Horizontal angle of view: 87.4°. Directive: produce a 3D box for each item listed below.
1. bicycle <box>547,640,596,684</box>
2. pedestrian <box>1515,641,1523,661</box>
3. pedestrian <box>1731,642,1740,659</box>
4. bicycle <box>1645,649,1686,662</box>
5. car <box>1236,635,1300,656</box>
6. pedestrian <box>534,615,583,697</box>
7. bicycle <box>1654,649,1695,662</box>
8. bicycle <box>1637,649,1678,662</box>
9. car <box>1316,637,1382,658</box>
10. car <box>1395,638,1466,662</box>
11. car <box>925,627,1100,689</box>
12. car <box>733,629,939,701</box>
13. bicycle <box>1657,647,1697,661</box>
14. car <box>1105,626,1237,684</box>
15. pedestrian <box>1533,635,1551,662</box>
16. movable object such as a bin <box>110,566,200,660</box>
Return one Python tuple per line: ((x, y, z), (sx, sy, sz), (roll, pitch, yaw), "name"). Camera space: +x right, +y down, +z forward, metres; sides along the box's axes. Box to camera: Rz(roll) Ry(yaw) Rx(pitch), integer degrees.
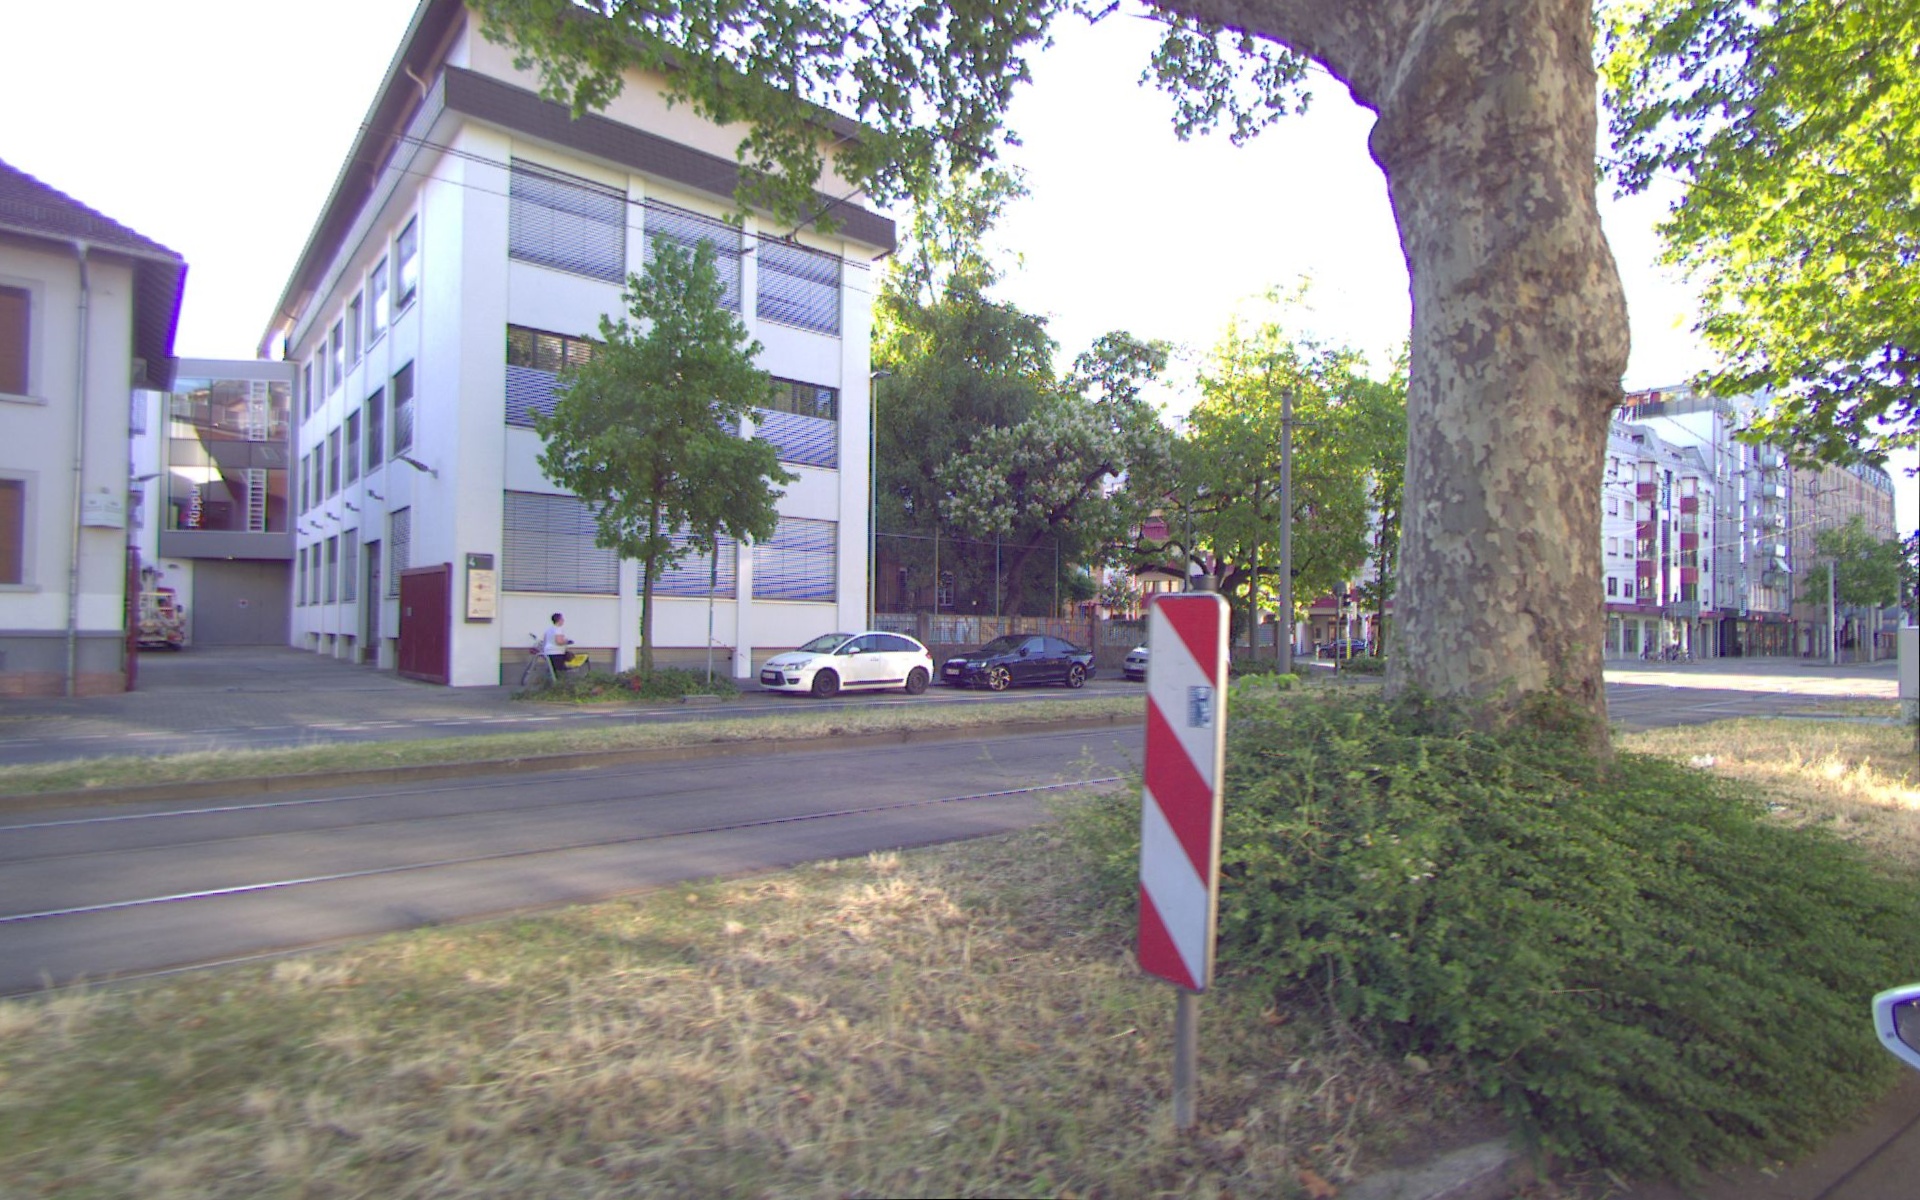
((-9.027, 1.429, 23.335), (1.011, 1.015, 0.300), (2, -2, -41), "bicycle")
((35.548, 3.229, 63.875), (0.316, 1.230, 0.300), (2, -3, -44), "pedestrian")
((67.026, 4.352, 86.803), (0.523, 1.478, 0.506), (2, -2, -38), "pedestrian")
((46.699, 3.660, 66.477), (0.488, 0.797, 2.150), (2, -2, -41), "bicycle")
((22.754, 3.351, 74.285), (4.210, 1.483, 1.792), (-2, -3, 42), "car")
((-8.212, 1.131, 20.558), (0.726, 1.642, 0.629), (2, -1, -42), "pedestrian")
((47.777, 3.693, 67.181), (0.524, 0.835, 2.150), (2, -2, -41), "bicycle")
((45.916, 3.630, 66.156), (0.636, 0.797, 2.150), (2, -2, -41), "bicycle")
((27.135, 3.299, 70.040), (3.940, 1.483, 1.794), (-2, -3, 40), "car")
((31.183, 3.300, 66.574), (3.940, 1.483, 1.793), (-2, -3, 40), "car")
((1.458, 1.498, 26.734), (4.614, 1.495, 1.976), (2, -2, -41), "car")
((-2.788, 1.437, 23.166), (4.372, 1.490, 1.976), (2, -2, -41), "car")
((48.243, 3.628, 67.624), (0.488, 0.963, 2.150), (2, -2, -41), "bicycle")
((6.642, 1.684, 31.452), (4.146, 1.711, 1.976), (2, -2, -41), "car")
((35.609, 2.967, 61.441), (1.026, 1.684, 0.702), (2, -3, -43), "pedestrian")
((-28.885, 0.381, 35.938), (2.270, 3.043, 6.044), (2, 1, -41), "movable object such as a bin")
